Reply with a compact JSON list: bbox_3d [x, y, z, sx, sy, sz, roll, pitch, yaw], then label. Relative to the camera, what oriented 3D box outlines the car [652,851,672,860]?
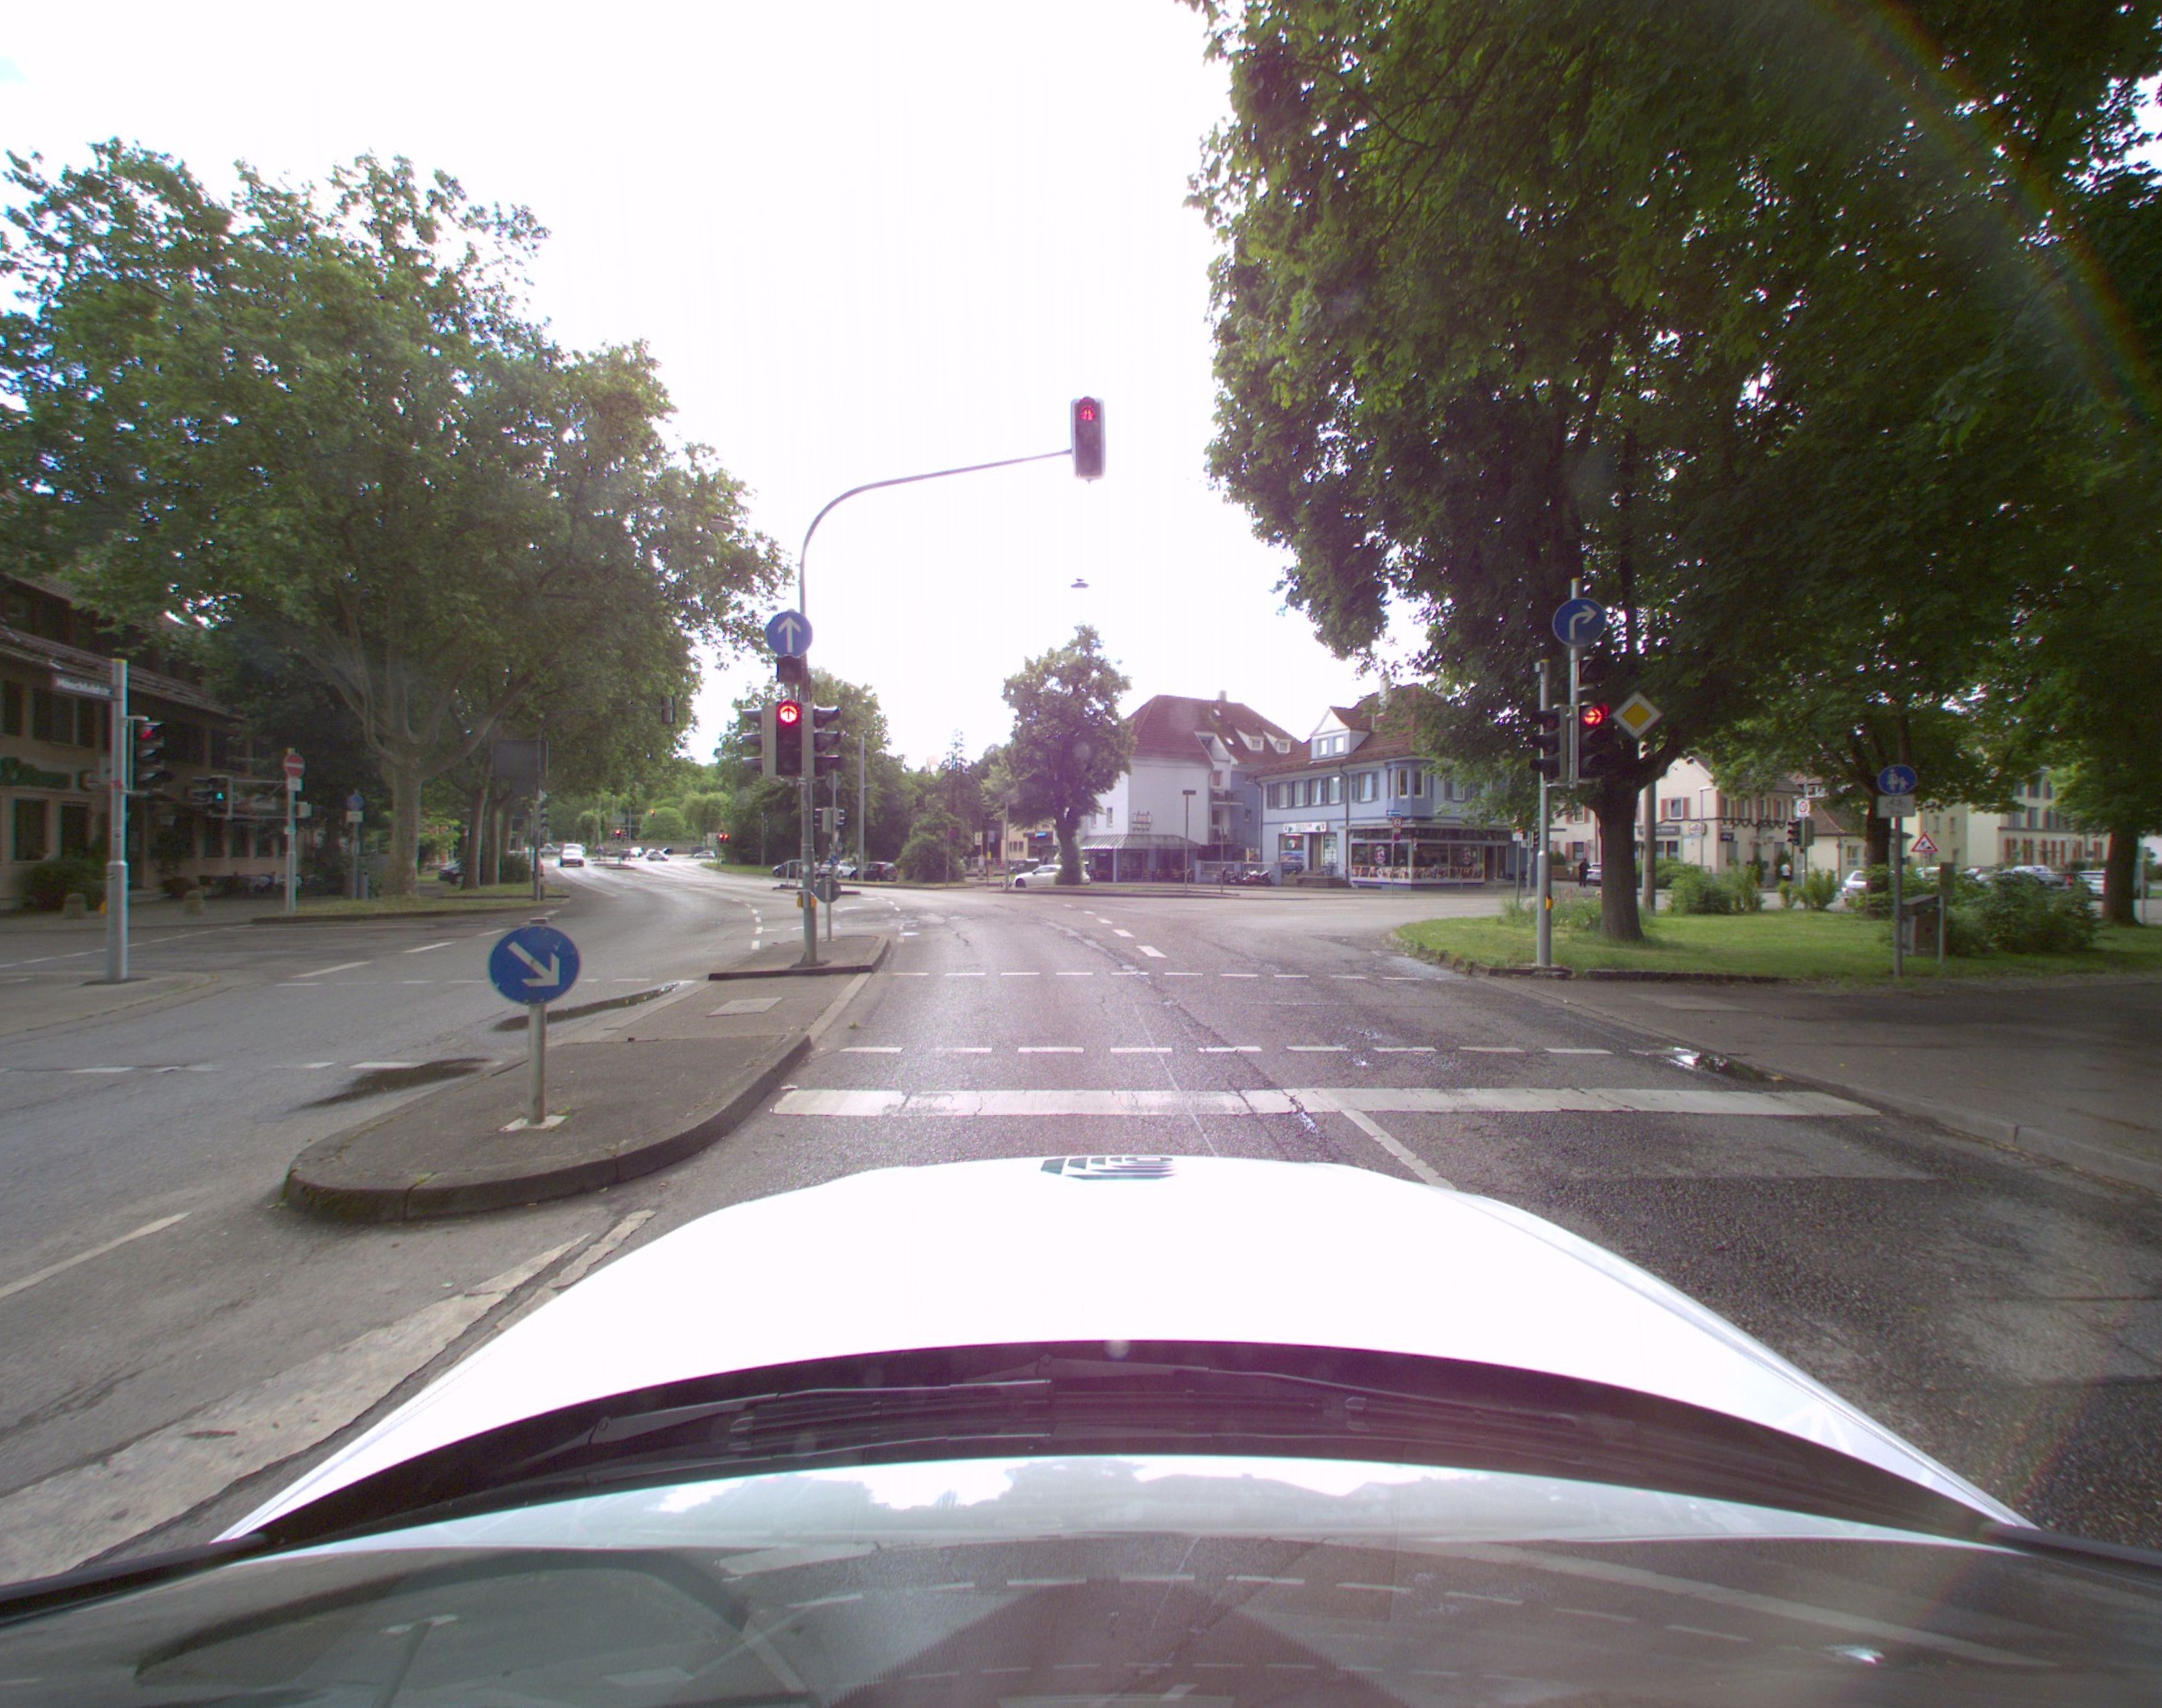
[{"bbox_3d":[-95.498,0.418,185.606,4.011,2.014,1.981,0,-1,-29],"label":"car"}]

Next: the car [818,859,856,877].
[{"bbox_3d":[-20.082,1.127,67.188,1.534,1.464,3.407,0,0,13],"label":"car"}]

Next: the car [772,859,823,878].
[{"bbox_3d":[-22.441,1.111,64.486,3.520,1.464,1.591,0,0,14],"label":"car"}]

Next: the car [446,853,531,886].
[{"bbox_3d":[-31.004,0.783,42.719,3.461,1.641,1.557,0,-1,-31],"label":"car"}]

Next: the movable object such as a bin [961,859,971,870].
[{"bbox_3d":[-12.223,1.114,86.640,0.953,1.115,0.381,0,-1,-19],"label":"movable object such as a bin"}]

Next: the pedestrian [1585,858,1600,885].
[{"bbox_3d":[29.210,0.990,46.472,0.462,1.517,0.581,0,-1,-38],"label":"pedestrian"}]

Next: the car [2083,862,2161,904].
[{"bbox_3d":[52.828,1.434,41.125,4.004,2.014,1.770,0,-1,-23],"label":"car"}]

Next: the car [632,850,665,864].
[{"bbox_3d":[-65.055,0.461,122.502,3.993,2.014,1.855,0,-1,-14],"label":"car"}]

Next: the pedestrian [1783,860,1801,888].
[{"bbox_3d":[42.386,1.180,48.551,0.611,1.649,0.606,0,-1,-27],"label":"pedestrian"}]

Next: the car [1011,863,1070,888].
[{"bbox_3d":[-2.311,1.200,46.239,3.134,1.354,1.448,0,-1,36],"label":"car"}]

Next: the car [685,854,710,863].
[{"bbox_3d":[-70.162,0.789,149.047,4.003,1.551,1.855,0,0,-23],"label":"car"}]

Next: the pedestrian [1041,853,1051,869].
[{"bbox_3d":[-3.319,0.702,77.871,0.681,1.545,0.701,0,-1,-32],"label":"pedestrian"}]

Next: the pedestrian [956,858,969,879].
[{"bbox_3d":[-8.761,1.086,60.330,0.699,1.545,0.682,-1,-1,42],"label":"pedestrian"}]

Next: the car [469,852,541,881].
[{"bbox_3d":[-35.487,0.755,50.284,3.461,1.742,1.557,0,-1,-31],"label":"car"}]

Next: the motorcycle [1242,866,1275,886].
[{"bbox_3d":[10.532,1.286,48.264,1.777,1.121,0.699,0,-1,40],"label":"motorcycle"}]

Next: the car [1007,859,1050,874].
[{"bbox_3d":[-4.884,1.130,76.157,3.752,1.345,1.422,0,0,-25],"label":"car"}]

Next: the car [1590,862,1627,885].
[{"bbox_3d":[32.621,1.182,50.322,1.481,1.369,3.198,-1,-1,40],"label":"car"}]

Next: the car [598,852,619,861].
[{"bbox_3d":[-106.178,0.476,183.030,4.011,2.014,1.981,0,-1,-29],"label":"car"}]

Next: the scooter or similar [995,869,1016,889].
[{"bbox_3d":[-3.980,1.289,42.882,0.413,1.011,1.575,-1,-1,22],"label":"scooter or similar"}]

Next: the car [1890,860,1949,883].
[{"bbox_3d":[55.113,1.125,53.529,4.007,1.420,1.544,0,0,-26],"label":"car"}]

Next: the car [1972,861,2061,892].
[{"bbox_3d":[42.213,0.976,36.752,3.510,1.321,1.549,0,0,-21],"label":"car"}]

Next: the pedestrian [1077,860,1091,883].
[{"bbox_3d":[0.207,1.210,56.041,0.759,1.545,0.682,-1,-1,41],"label":"pedestrian"}]

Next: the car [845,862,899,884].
[{"bbox_3d":[-13.910,1.264,54.206,3.549,1.394,1.481,0,-1,34],"label":"car"}]

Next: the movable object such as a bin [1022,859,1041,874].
[{"bbox_3d":[-4.526,1.129,74.250,1.447,1.409,0.959,0,-1,-25],"label":"movable object such as a bin"}]

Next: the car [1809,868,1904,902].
[{"bbox_3d":[31.960,1.252,33.568,3.511,1.321,1.549,0,0,-22],"label":"car"}]

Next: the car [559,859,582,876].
[{"bbox_3d":[-46.359,1.220,73.904,1.440,1.416,2.838,0,-1,-39],"label":"car"}]

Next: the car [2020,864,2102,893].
[{"bbox_3d":[47.000,1.166,39.059,3.511,1.321,1.549,0,0,-22],"label":"car"}]

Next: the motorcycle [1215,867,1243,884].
[{"bbox_3d":[9.111,1.312,50.078,0.699,1.064,1.617,0,-1,-44],"label":"motorcycle"}]
